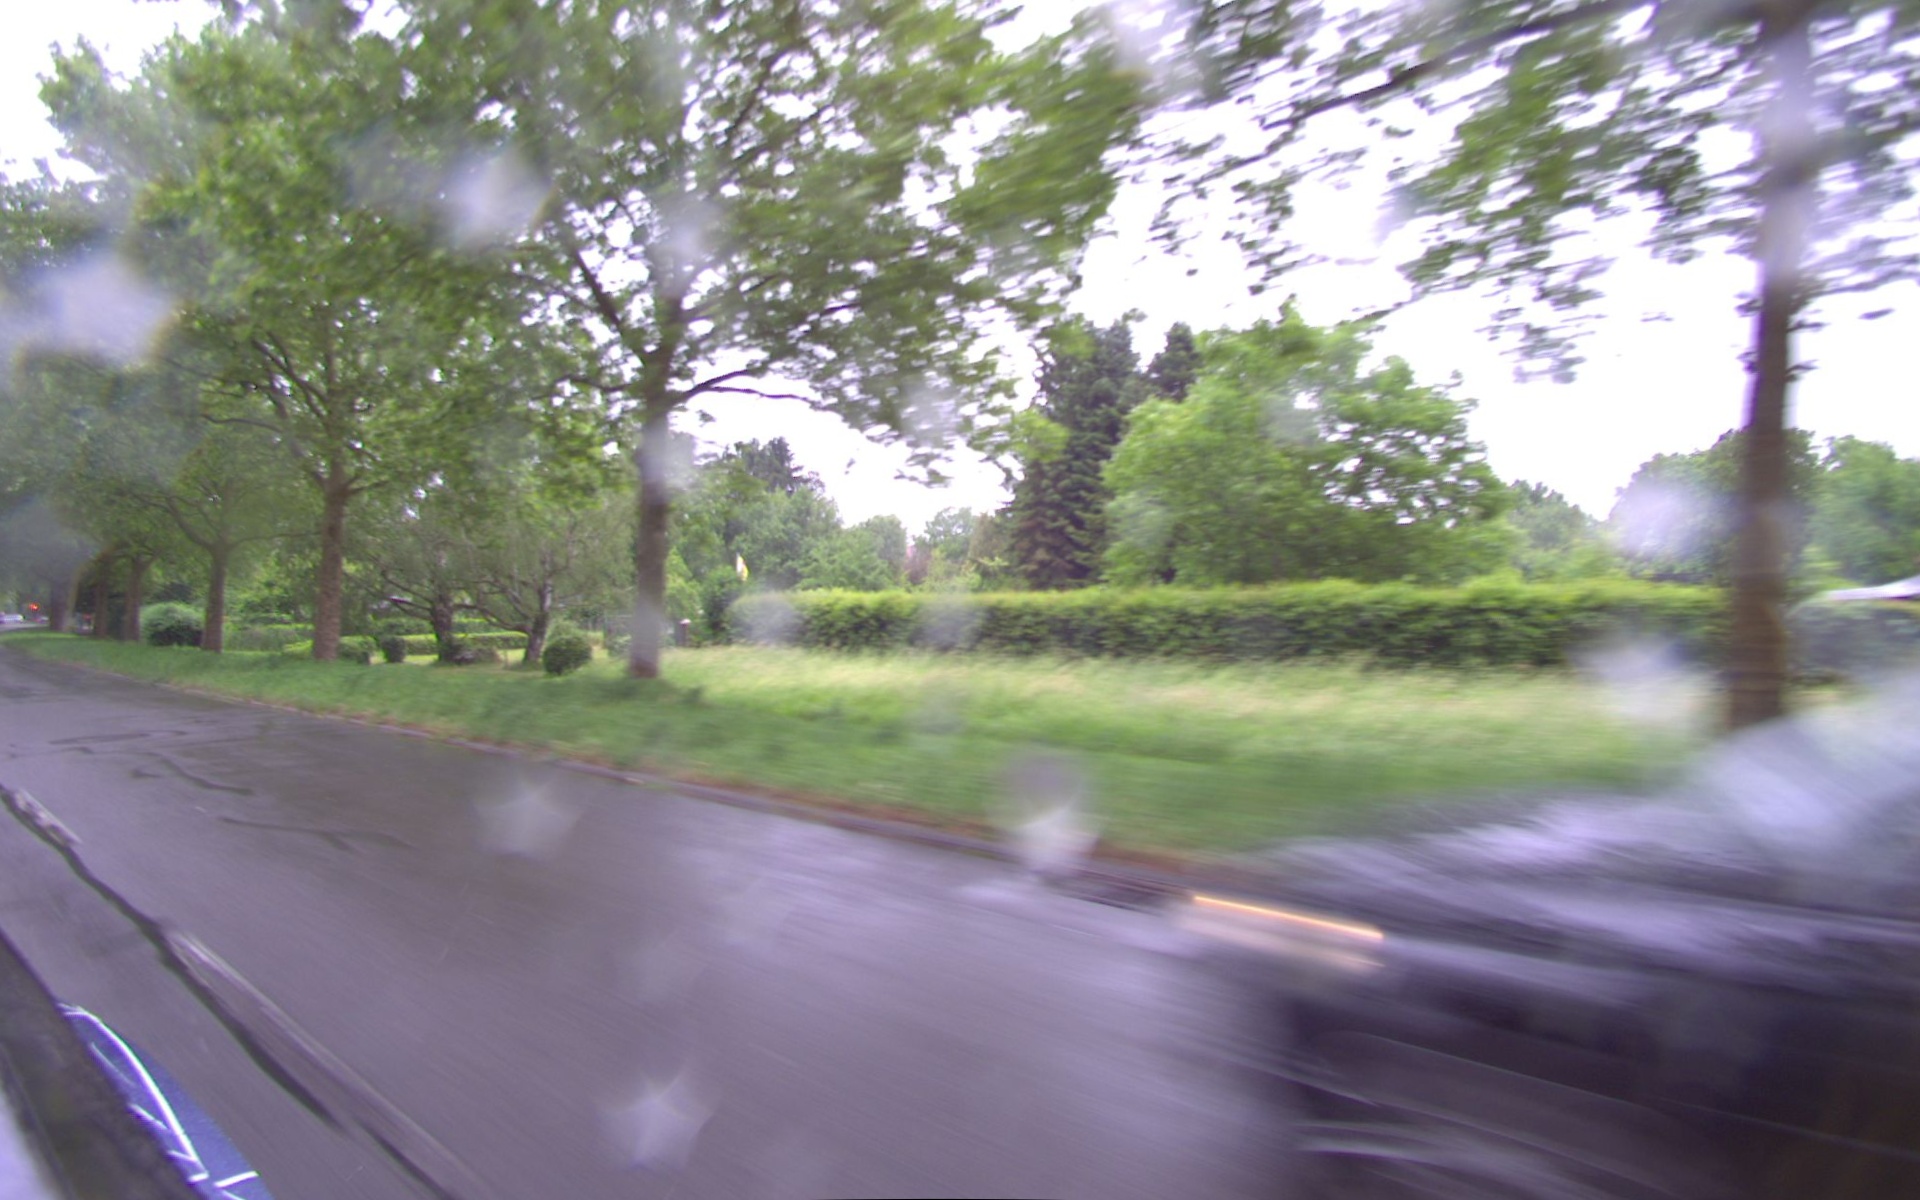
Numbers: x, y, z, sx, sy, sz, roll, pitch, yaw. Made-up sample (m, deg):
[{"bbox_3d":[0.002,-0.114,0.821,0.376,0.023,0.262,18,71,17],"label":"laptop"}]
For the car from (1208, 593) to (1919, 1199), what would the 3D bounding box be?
[{"bbox_3d":[2.751,0.697,1.652,4.221,1.434,1.714,-1,0,39],"label":"car"}]
